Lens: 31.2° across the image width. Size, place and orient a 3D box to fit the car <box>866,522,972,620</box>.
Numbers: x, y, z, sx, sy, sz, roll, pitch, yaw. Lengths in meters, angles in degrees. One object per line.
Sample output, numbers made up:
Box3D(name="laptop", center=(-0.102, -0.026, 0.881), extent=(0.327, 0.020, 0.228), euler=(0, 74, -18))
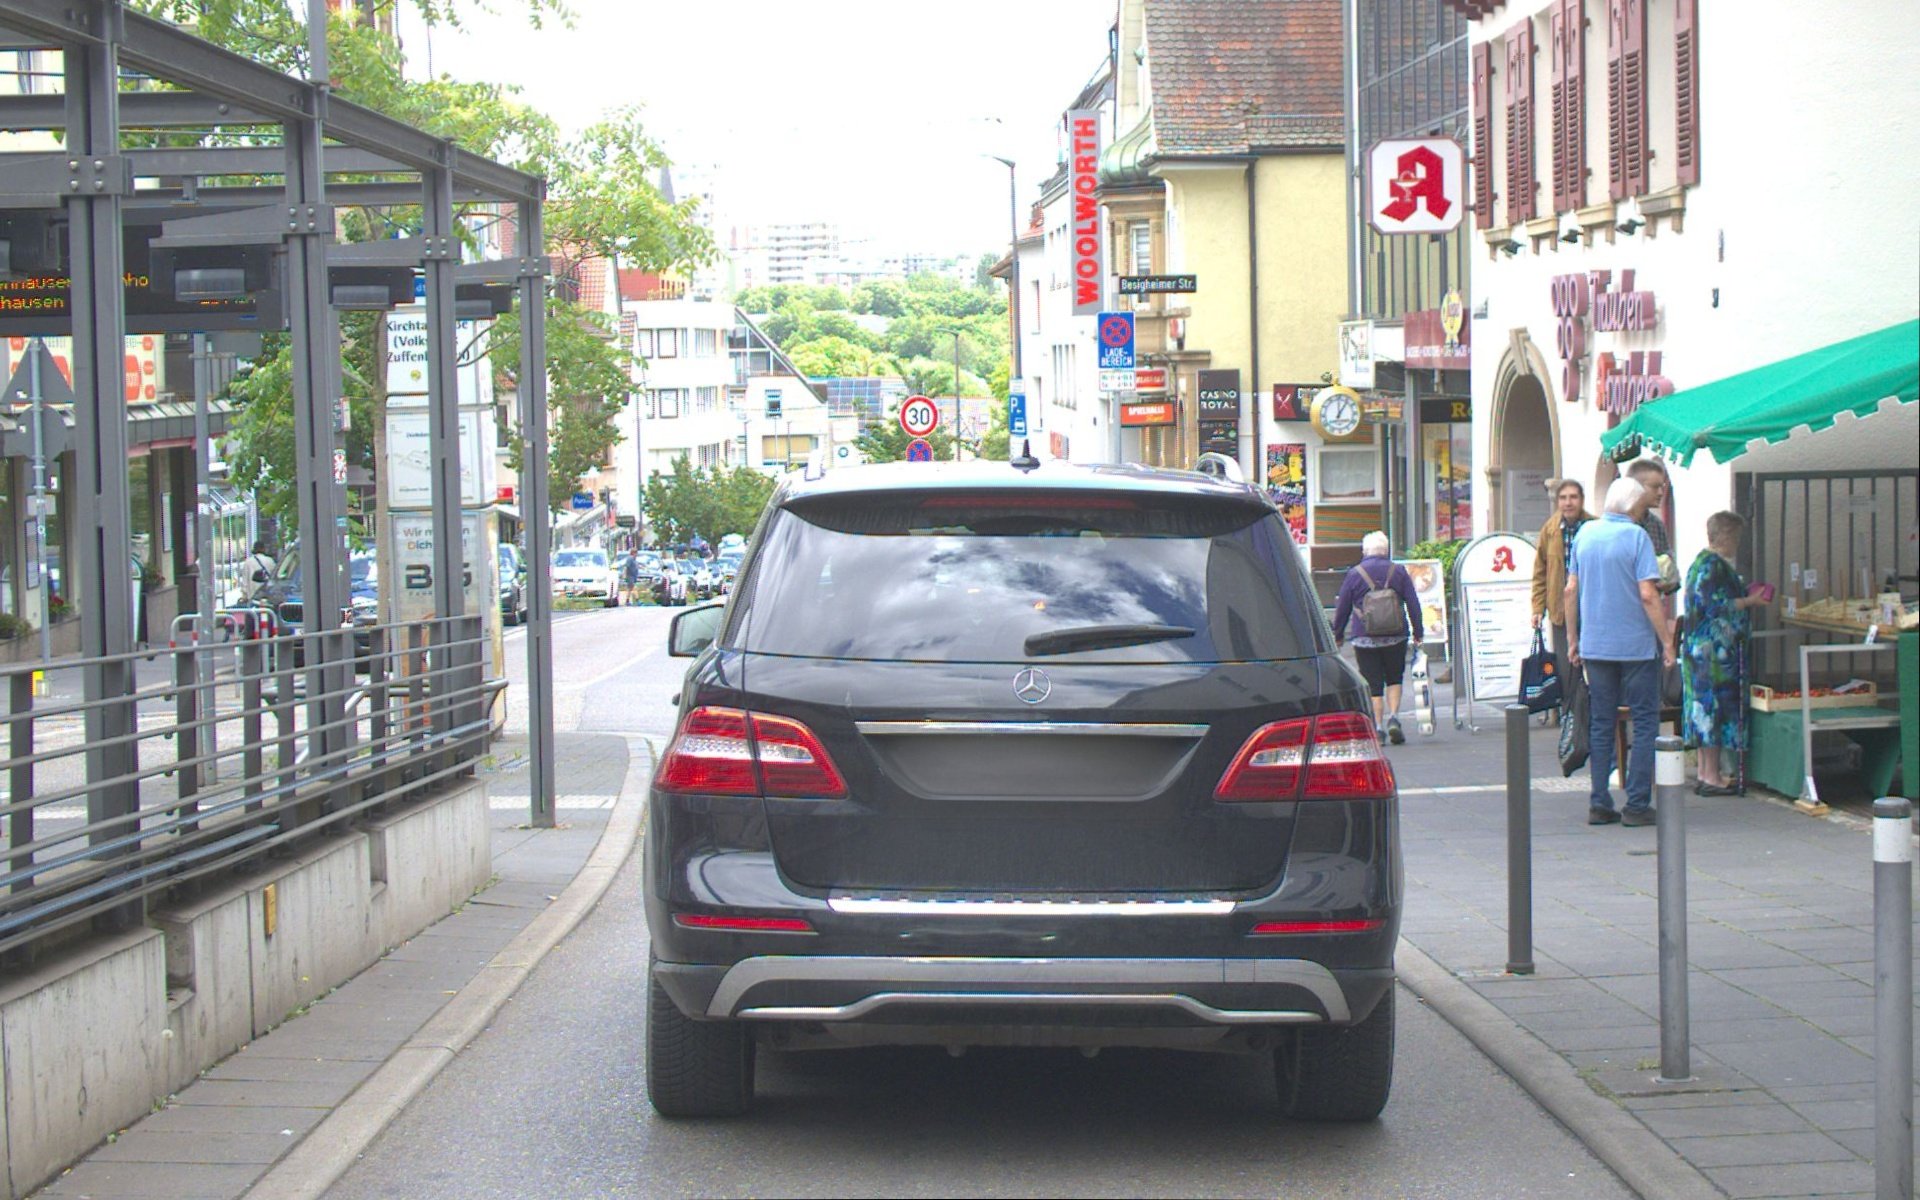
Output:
Box3D(name="car", center=(-0.717, -0.536, 61.189), extent=(1.748, 1.602, 3.800), euler=(-3, 1, 0))

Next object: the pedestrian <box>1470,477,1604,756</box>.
Box3D(name="pedestrian", center=(3.784, 0.101, 22.598), extent=(0.786, 1.795, 0.676), euler=(-1, 1, 5))

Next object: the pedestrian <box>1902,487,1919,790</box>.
Box3D(name="pedestrian", center=(5.383, 0.199, 18.185), extent=(0.623, 1.607, 0.702), euler=(-1, 1, 4))

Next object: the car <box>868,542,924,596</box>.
Box3D(name="car", center=(-2.424, -1.186, 129.225), extent=(1.938, 1.885, 4.707), euler=(-3, 1, -2))

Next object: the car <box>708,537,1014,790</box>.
Box3D(name="car", center=(-0.752, 0.362, 23.430), extent=(1.785, 1.535, 3.745), euler=(-1, 1, -6))

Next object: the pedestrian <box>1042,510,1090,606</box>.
Box3D(name="pedestrian", center=(1.945, -0.772, 63.214), extent=(0.796, 1.721, 1.053), euler=(-2, 1, -1))

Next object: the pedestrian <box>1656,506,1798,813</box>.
Box3D(name="pedestrian", center=(4.123, 0.309, 18.512), extent=(0.623, 1.607, 0.702), euler=(-1, 1, 4))

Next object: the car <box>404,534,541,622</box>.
Box3D(name="car", center=(-8.715, -0.426, 61.785), extent=(1.926, 1.487, 4.843), euler=(1, 1, -2))

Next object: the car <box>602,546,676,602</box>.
Box3D(name="car", center=(-9.481, -0.769, 101.762), extent=(1.926, 1.616, 4.640), euler=(0, 0, -2))

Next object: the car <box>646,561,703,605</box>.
Box3D(name="car", center=(-10.202, -0.616, 123.069), extent=(1.926, 1.491, 4.263), euler=(1, 1, -4))

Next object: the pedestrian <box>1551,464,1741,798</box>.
Box3D(name="pedestrian", center=(3.907, 0.164, 19.587), extent=(0.780, 1.851, 0.701), euler=(0, 1, 42))

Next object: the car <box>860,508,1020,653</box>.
Box3D(name="car", center=(-0.209, -0.295, 45.282), extent=(1.877, 1.793, 4.732), euler=(-1, 1, 2))

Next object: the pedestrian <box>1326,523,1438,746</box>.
Box3D(name="pedestrian", center=(2.963, 0.232, 24.189), extent=(0.724, 1.526, 0.808), euler=(-1, 1, 5))

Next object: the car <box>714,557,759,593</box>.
Box3D(name="car", center=(-10.634, -1.196, 163.584), extent=(1.926, 1.623, 4.262), euler=(-1, 1, -1))

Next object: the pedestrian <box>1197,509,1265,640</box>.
Box3D(name="pedestrian", center=(3.622, -0.345, 45.866), extent=(0.864, 1.701, 0.945), euler=(-1, 1, 5))

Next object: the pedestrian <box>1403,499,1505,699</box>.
Box3D(name="pedestrian", center=(4.431, -0.017, 30.898), extent=(0.774, 1.763, 0.817), euler=(-1, 1, 1))

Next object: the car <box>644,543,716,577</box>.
Box3D(name="car", center=(-16.132, -2.309, 198.123), extent=(3.986, 1.744, 2.000), euler=(-3, 0, -5))

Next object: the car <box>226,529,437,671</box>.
Box3D(name="car", center=(-8.066, -0.049, 44.520), extent=(2.006, 1.688, 4.608), euler=(0, 2, -2))

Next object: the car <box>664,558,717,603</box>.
Box3D(name="car", center=(-10.228, -0.750, 130.458), extent=(1.926, 1.590, 4.459), euler=(1, 1, -4))

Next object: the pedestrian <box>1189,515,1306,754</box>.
Box3D(name="pedestrian", center=(2.026, 0.233, 24.213), extent=(0.772, 1.639, 0.870), euler=(-1, 1, 5))

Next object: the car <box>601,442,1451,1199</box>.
Box3D(name="car", center=(0.129, 0.473, 10.049), extent=(1.943, 1.734, 4.179), euler=(1, 1, -1))

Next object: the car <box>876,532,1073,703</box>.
Box3D(name="car", center=(0.115, 0.125, 34.180), extent=(1.803, 1.550, 3.954), euler=(-2, 1, -1))

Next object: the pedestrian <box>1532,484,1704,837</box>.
Box3D(name="pedestrian", center=(3.359, 0.297, 17.530), extent=(0.701, 1.760, 0.625), euler=(-1, 1, 25))

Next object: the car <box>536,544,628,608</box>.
Box3D(name="car", center=(-9.256, -0.612, 84.498), extent=(1.926, 1.506, 4.262), euler=(1, 1, -2))
